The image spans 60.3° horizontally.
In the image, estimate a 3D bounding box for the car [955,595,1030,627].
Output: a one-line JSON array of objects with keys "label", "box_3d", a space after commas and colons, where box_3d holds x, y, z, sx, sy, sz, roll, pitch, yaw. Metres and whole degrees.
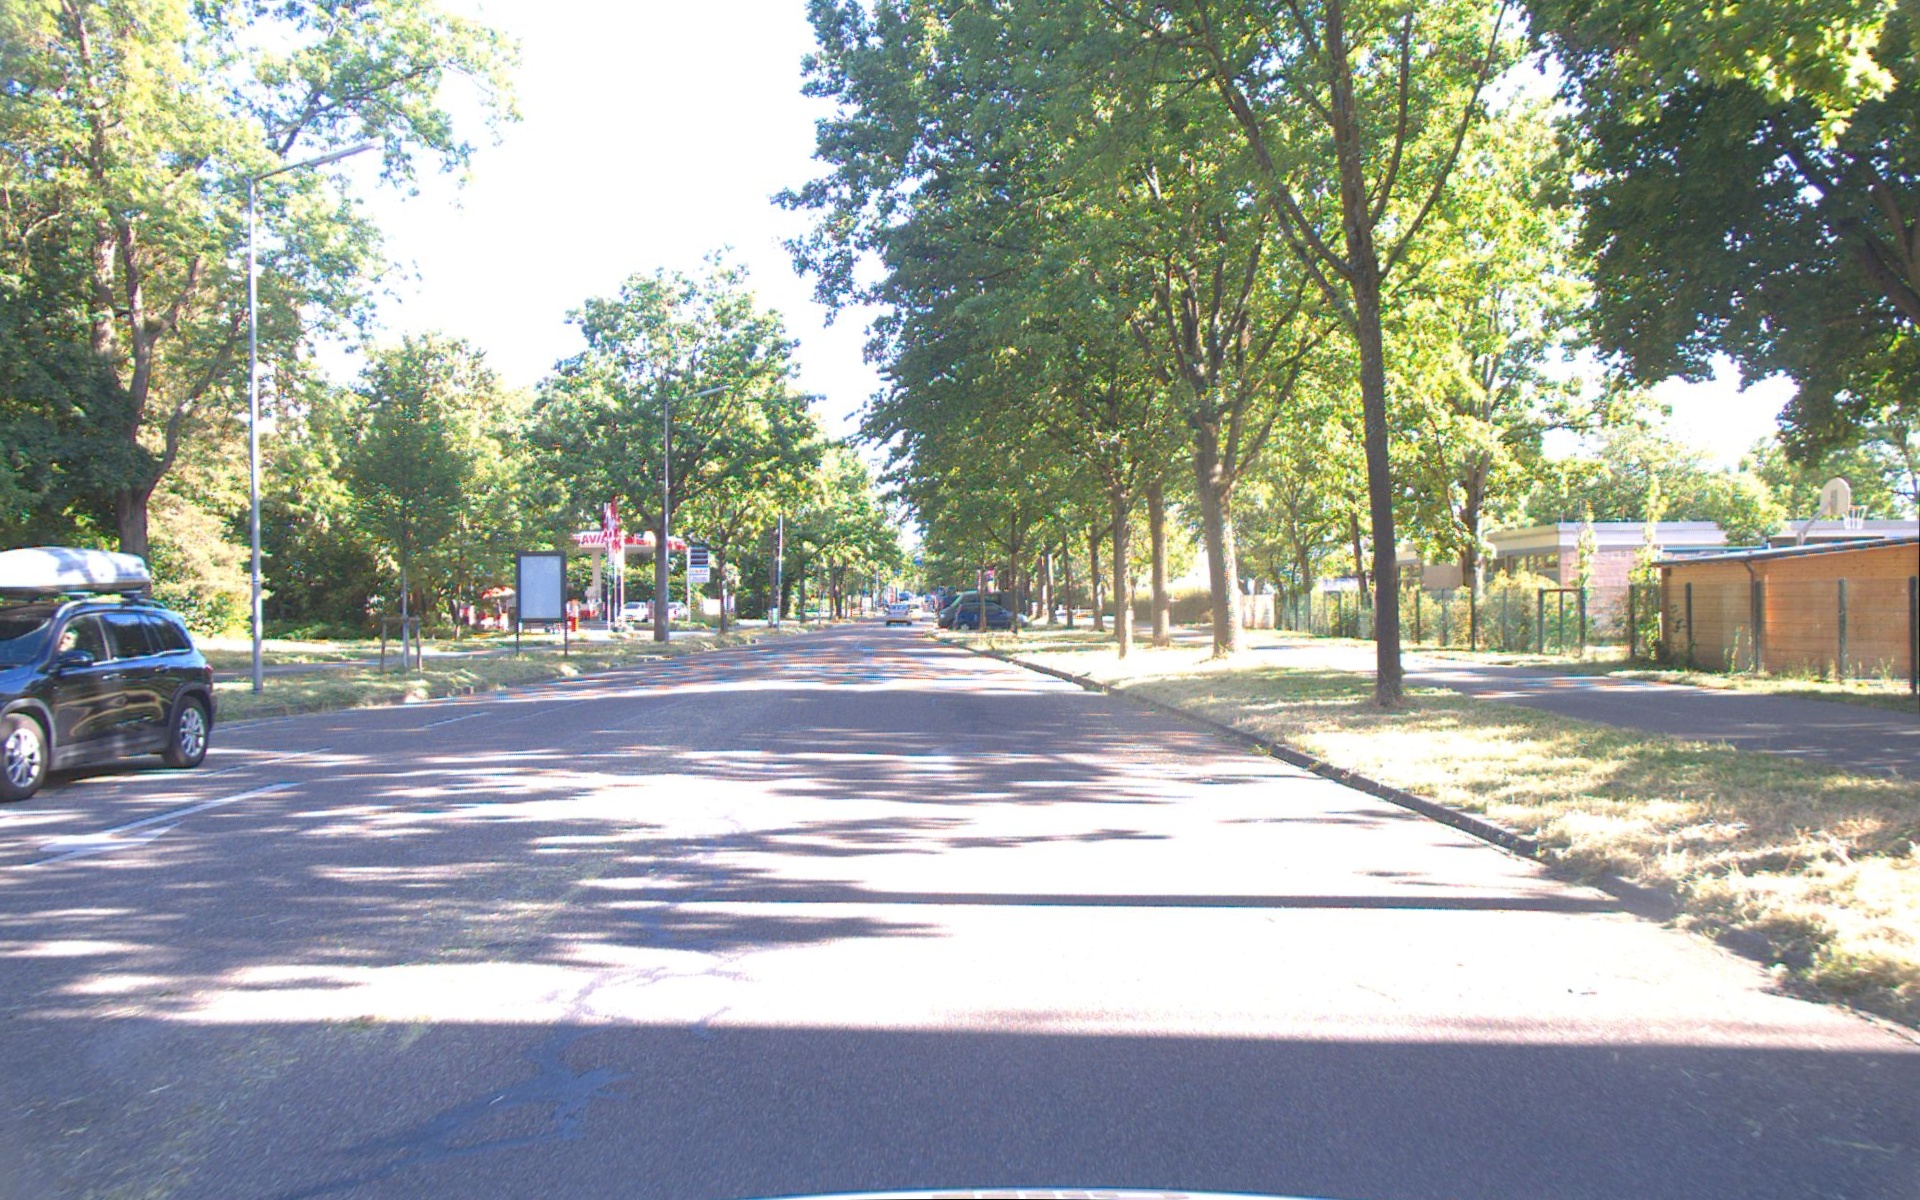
[{"label": "car", "box_3d": [1.569, 0.532, 80.227, 3.579, 1.423, 1.317, -1, -1, -2]}]

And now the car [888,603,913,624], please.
[{"label": "car", "box_3d": [-4.081, 0.953, 112.774, 1.627, 1.360, 3.663, -1, -1, -2]}]

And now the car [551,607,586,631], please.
[{"label": "car", "box_3d": [-28.383, 1.408, 119.856, 1.765, 1.649, 3.802, -1, -1, -3]}]

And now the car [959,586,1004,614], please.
[{"label": "car", "box_3d": [1.704, 0.022, 131.912, 3.495, 2.087, 1.632, -1, -2, -2]}]

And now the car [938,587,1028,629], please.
[{"label": "car", "box_3d": [1.148, 0.409, 83.194, 4.412, 1.987, 1.687, -1, -1, -2]}]

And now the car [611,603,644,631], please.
[{"label": "car", "box_3d": [-23.580, 1.232, 117.421, 1.765, 1.855, 3.802, -1, -1, -4]}]

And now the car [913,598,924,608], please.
[{"label": "car", "box_3d": [-6.605, 0.480, 261.960, 1.627, 1.360, 3.663, -1, -1, -2]}]

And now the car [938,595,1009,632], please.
[{"label": "car", "box_3d": [0.674, 0.708, 85.661, 3.579, 1.829, 1.317, -1, -1, -2]}]

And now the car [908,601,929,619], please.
[{"label": "car", "box_3d": [-3.441, 0.811, 136.897, 1.627, 1.360, 3.663, -1, -1, -2]}]

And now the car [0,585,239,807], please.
[{"label": "car", "box_3d": [-8.416, 0.784, 14.831, 1.801, 1.738, 4.505, -2, 0, 1]}]
